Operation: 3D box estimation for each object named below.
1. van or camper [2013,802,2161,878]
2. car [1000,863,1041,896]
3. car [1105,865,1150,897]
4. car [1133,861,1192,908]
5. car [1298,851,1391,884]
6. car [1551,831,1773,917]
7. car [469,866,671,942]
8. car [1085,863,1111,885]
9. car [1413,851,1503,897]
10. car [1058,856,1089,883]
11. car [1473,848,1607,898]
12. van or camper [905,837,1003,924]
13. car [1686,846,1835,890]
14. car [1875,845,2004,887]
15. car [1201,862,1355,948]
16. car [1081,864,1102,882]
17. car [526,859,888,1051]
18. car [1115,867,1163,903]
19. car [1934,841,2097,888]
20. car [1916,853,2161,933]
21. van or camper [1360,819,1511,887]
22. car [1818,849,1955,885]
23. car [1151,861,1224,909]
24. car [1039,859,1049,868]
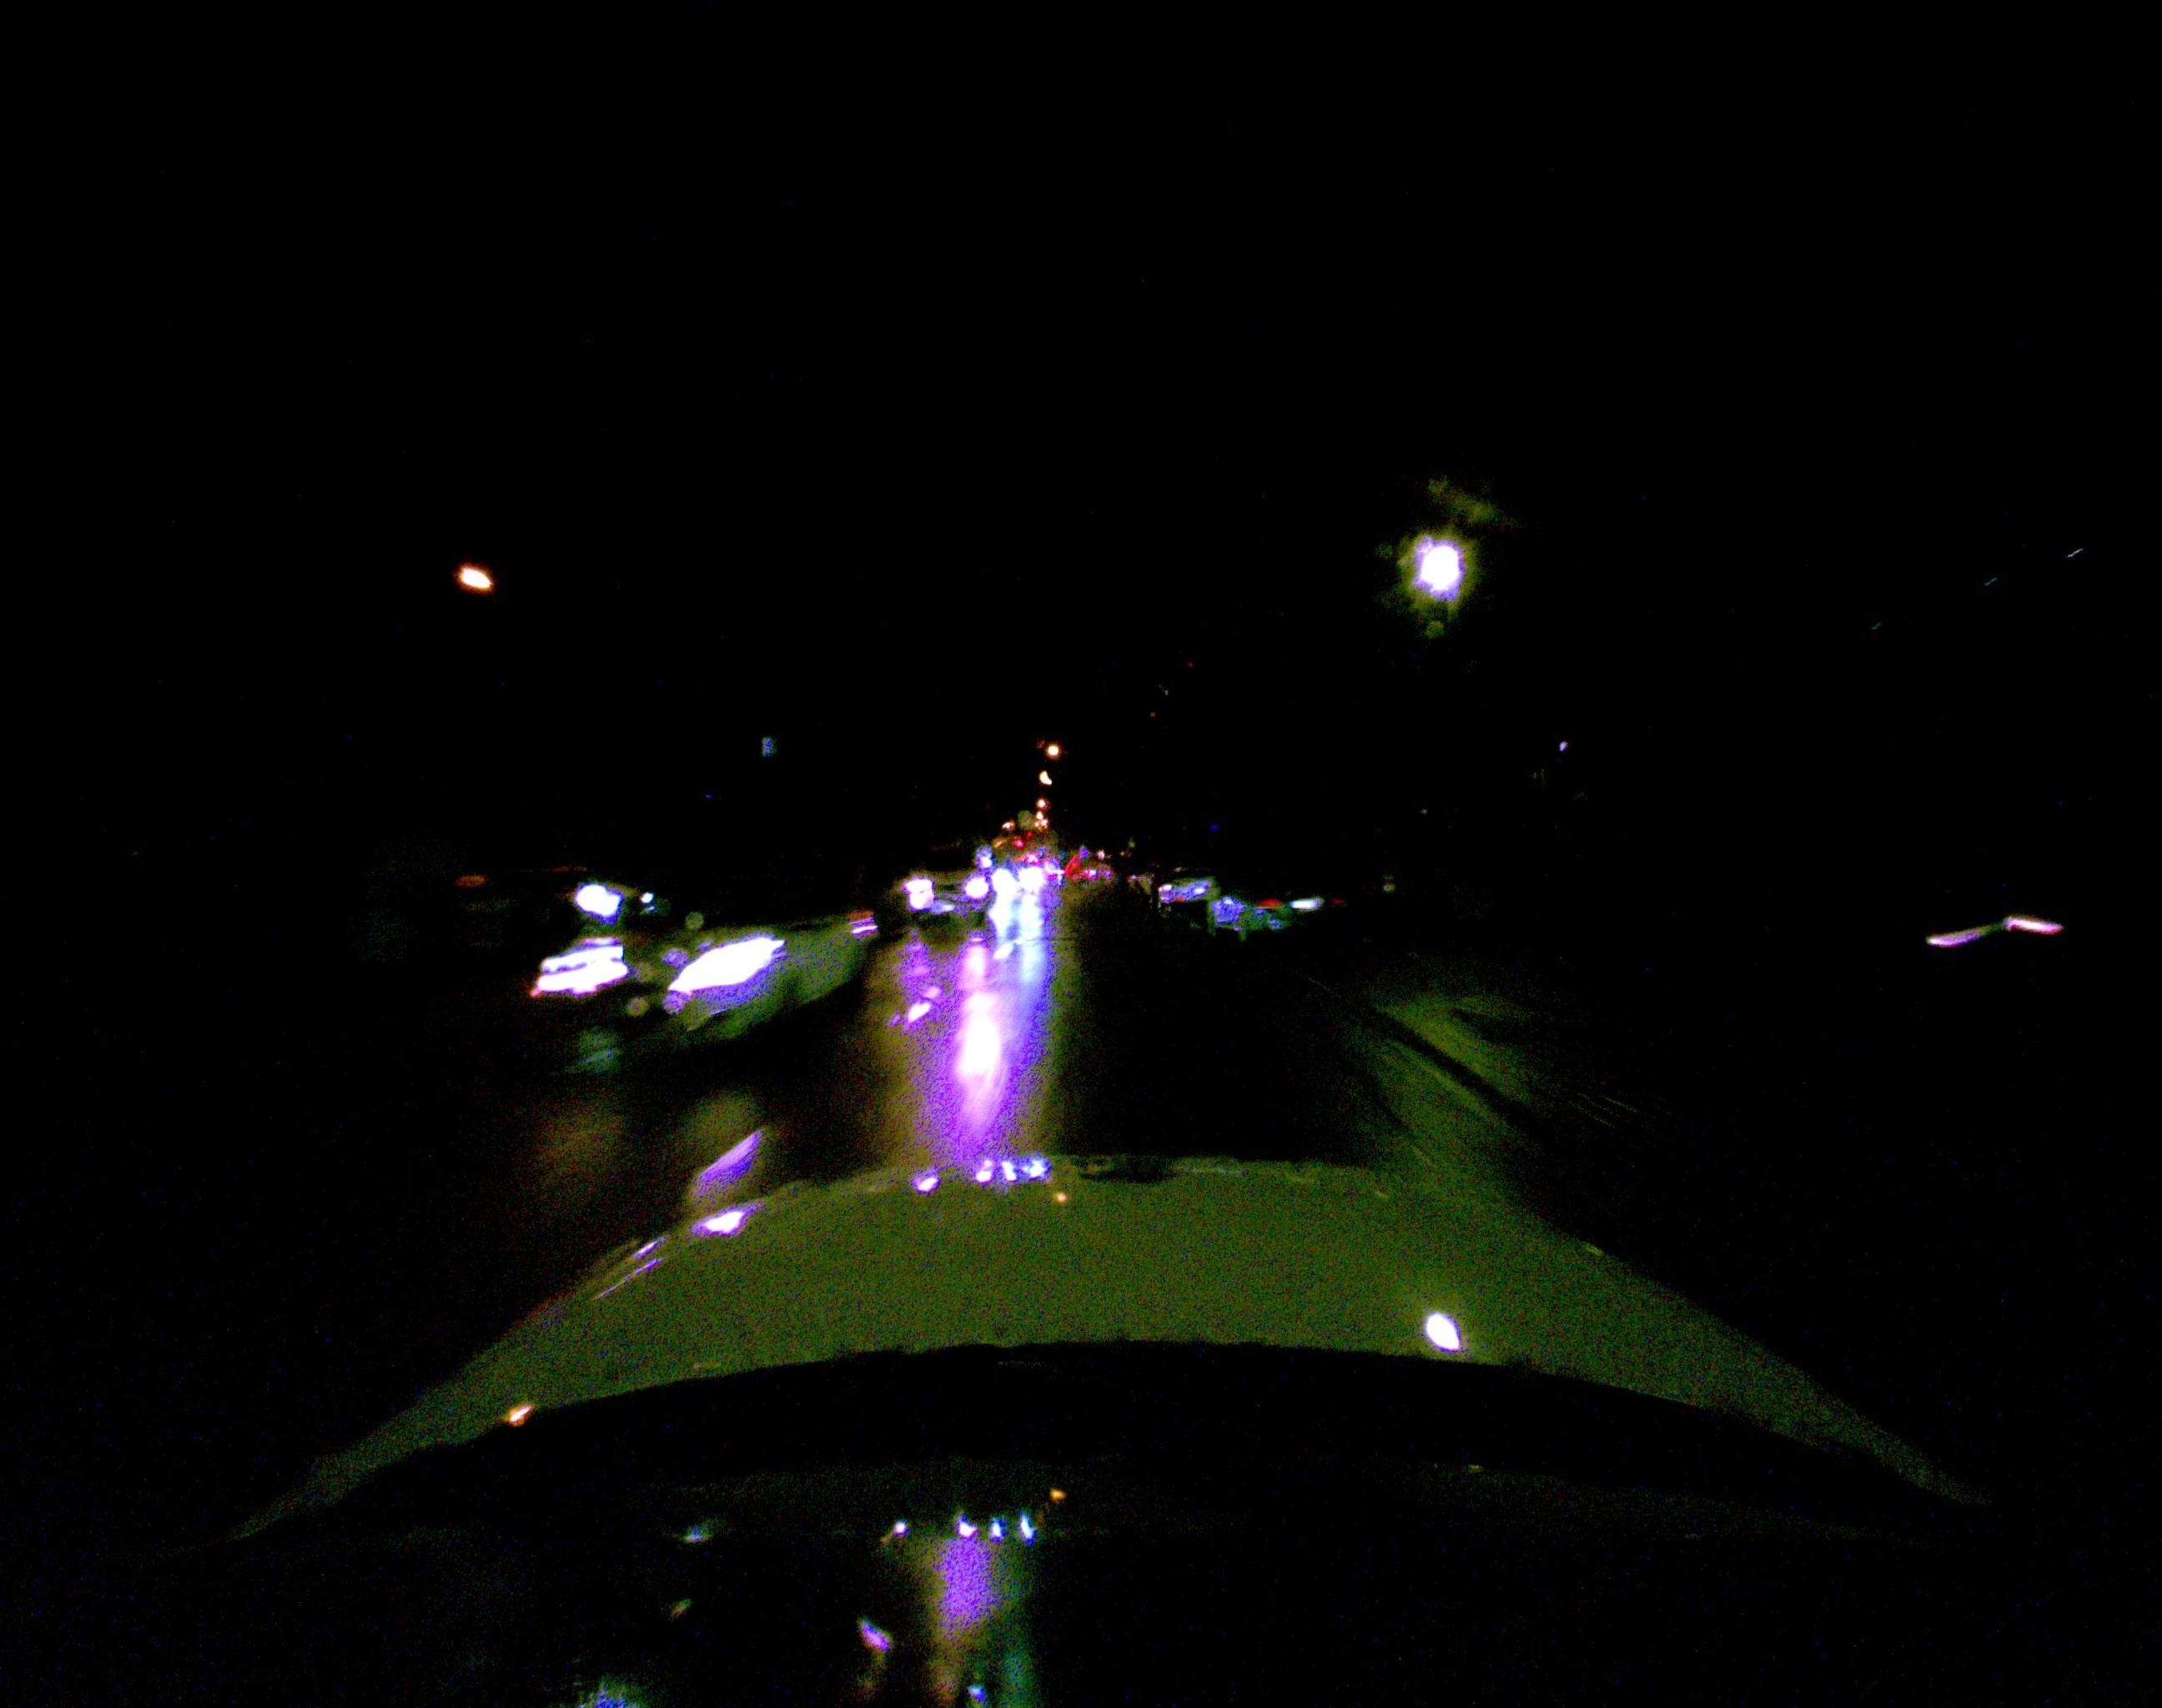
[{"bbox_3d":[37.458,-0.486,29.205,5.362,2.554,2.381,-1,-1,-2],"label":"van or camper"},{"bbox_3d":[-2.930,1.214,40.044,1.791,1.461,4.574,2,-1,-2],"label":"car"},{"bbox_3d":[2.508,1.456,45.258,1.877,1.572,4.521,-3,0,-4],"label":"car"},{"bbox_3d":[3.320,1.194,33.965,1.710,1.708,4.180,-3,0,-4],"label":"car"},{"bbox_3d":[12.842,0.645,39.807,3.978,1.521,1.683,-1,0,-4],"label":"car"},{"bbox_3d":[12.898,0.458,18.476,1.898,1.696,4.256,-1,-2,-1],"label":"car"},{"bbox_3d":[-12.893,1.188,20.560,4.648,1.619,2.011,1,0,23],"label":"car"},{"bbox_3d":[1.250,1.469,61.170,1.624,1.466,4.505,-2,0,-3],"label":"car"},{"bbox_3d":[13.077,0.654,28.454,1.558,1.469,3.406,-1,0,-1],"label":"car"},{"bbox_3d":[-0.540,1.022,55.208,1.988,1.683,3.998,0,1,-2],"label":"car"},{"bbox_3d":[15.626,0.599,28.054,1.824,1.548,4.865,-1,0,-1],"label":"car"},{"bbox_3d":[-3.324,0.670,22.289,1.864,2.103,4.941,-1,-1,0],"label":"van or camper"},{"bbox_3d":[23.348,0.459,28.218,1.673,1.414,4.261,-1,0,1],"label":"car"},{"bbox_3d":[38.431,0.524,36.523,3.974,1.780,1.706,-1,0,0],"label":"car"},{"bbox_3d":[3.897,0.940,17.034,1.786,1.449,4.785,-2,0,-3],"label":"car"},{"bbox_3d":[0.878,1.636,71.221,1.492,1.388,3.742,-2,0,-4],"label":"car"},{"bbox_3d":[-3.351,0.795,8.258,1.739,1.433,4.000,-1,-1,1],"label":"car"},{"bbox_3d":[2.783,1.471,39.992,1.750,1.528,4.148,-3,0,-3],"label":"car"},{"bbox_3d":[38.943,0.429,34.036,4.637,1.805,1.907,-1,-1,-1],"label":"car"},{"bbox_3d":[20.592,0.755,17.088,1.820,1.468,4.258,1,-1,0],"label":"car"},{"bbox_3d":[13.988,-0.040,32.343,5.045,2.527,2.171,-1,0,0],"label":"van or camper"},{"bbox_3d":[38.391,0.609,38.891,4.574,1.588,1.995,-1,-1,-1],"label":"car"},{"bbox_3d":[3.580,1.019,28.161,1.709,1.489,4.431,-1,-1,-3],"label":"car"},{"bbox_3d":[-7.178,1.802,156.742,1.808,1.710,3.798,-2,0,-4],"label":"car"}]
